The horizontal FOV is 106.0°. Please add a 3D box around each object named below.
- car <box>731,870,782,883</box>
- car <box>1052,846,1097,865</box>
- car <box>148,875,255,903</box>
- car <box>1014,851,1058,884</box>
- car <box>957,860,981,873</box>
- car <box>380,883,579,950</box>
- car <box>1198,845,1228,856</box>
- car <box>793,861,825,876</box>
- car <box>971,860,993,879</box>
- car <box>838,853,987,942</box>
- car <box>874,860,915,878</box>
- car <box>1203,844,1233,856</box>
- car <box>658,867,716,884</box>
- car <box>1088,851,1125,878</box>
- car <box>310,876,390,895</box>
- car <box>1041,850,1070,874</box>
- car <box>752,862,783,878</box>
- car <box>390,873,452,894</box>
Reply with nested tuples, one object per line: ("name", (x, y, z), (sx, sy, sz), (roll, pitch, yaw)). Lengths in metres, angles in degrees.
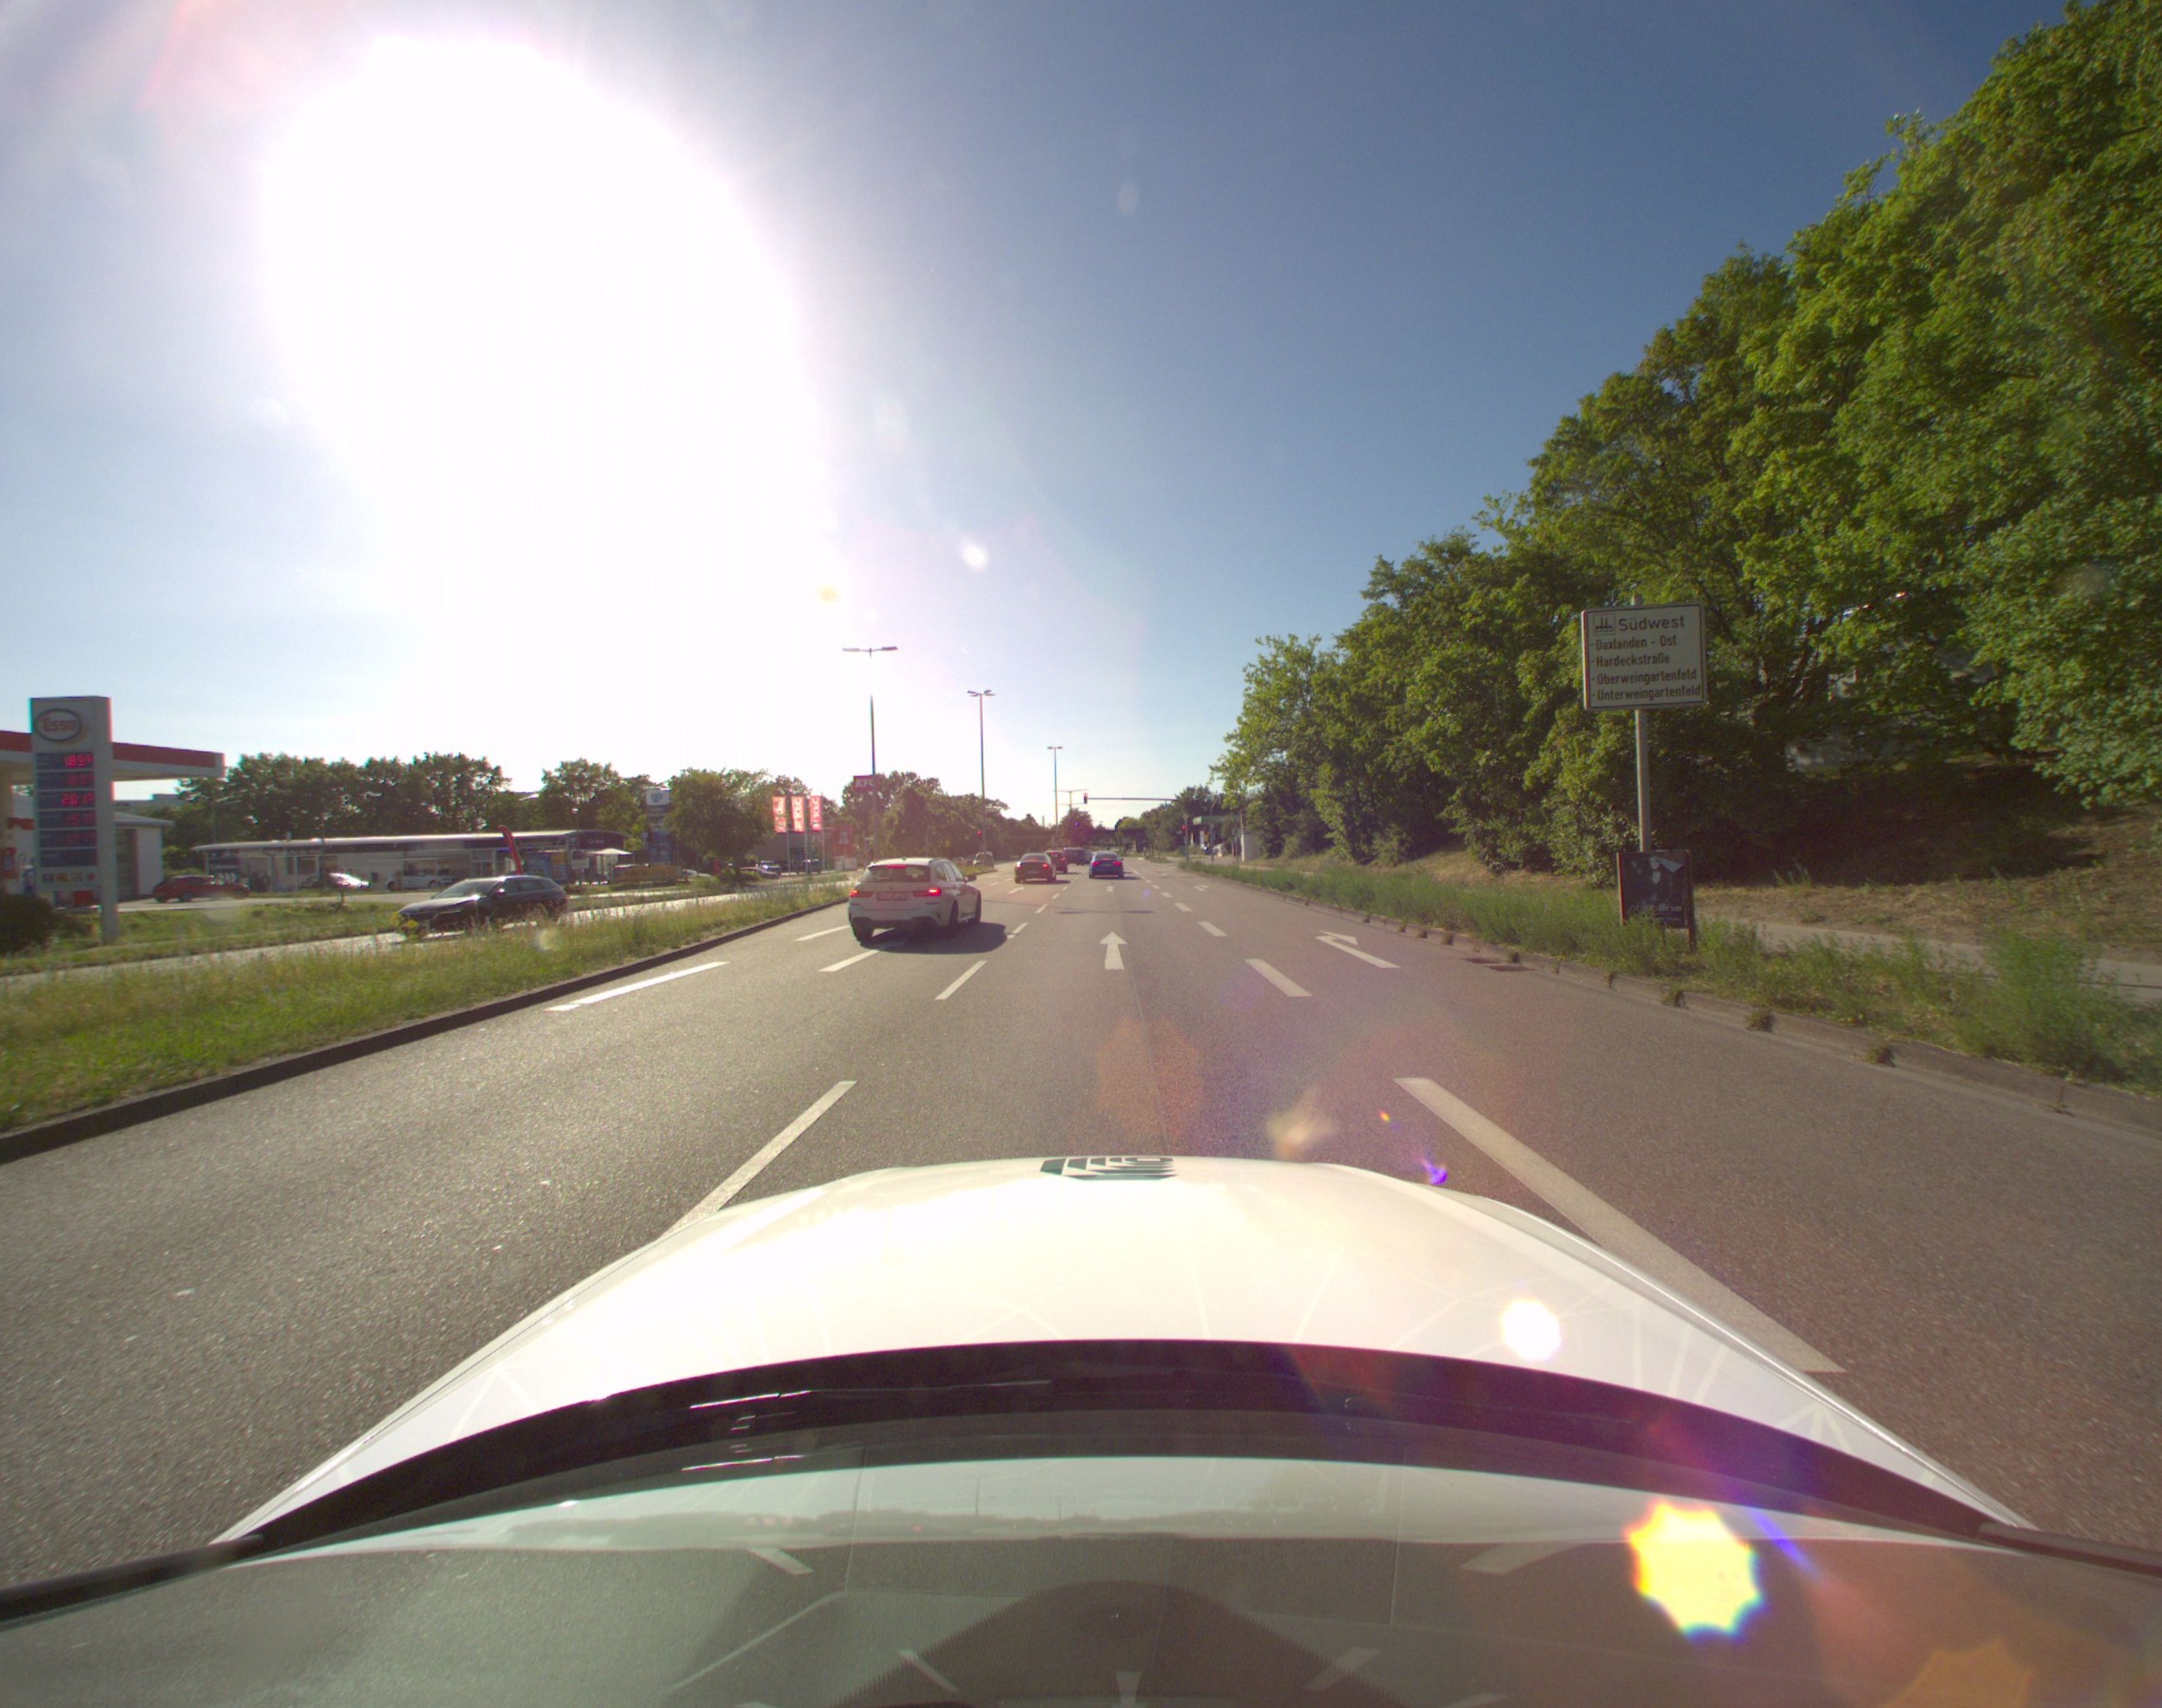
("car", (-30.831, 2.137, 77.502), (4.070, 1.252, 1.871), (0, -1, 0))
("car", (-0.695, 0.180, 84.318), (4.537, 1.875, 1.829), (-2, 0, 41))
("car", (-50.866, 1.978, 47.205), (1.516, 1.472, 4.014), (0, -1, 8))
("car", (-2.202, 0.619, 40.934), (1.805, 1.551, 4.544), (-1, 0, 1))
("car", (-15.765, 1.714, 114.805), (1.790, 1.726, 4.338), (-1, 0, 14))
("car", (-15.797, 1.580, 21.758), (1.639, 1.334, 4.683), (-5, -1, 2))
("car", (19.798, -0.508, 122.287), (3.995, 1.552, 1.989), (0, -1, -16))
("car", (-32.503, 1.673, 97.270), (1.946, 1.740, 4.046), (0, -1, -44))
("car", (-10.158, 1.578, 83.783), (1.671, 1.848, 4.296), (0, -1, 1))
("car", (-3.099, 0.748, 15.977), (1.805, 1.486, 4.598), (0, 0, 2))
("car", (-19.873, 1.597, 86.951), (1.974, 1.813, 3.796), (-1, -1, 39))
("car", (19.066, -0.546, 113.548), (3.970, 1.552, 2.001), (0, -1, 3))
("car", (-37.666, 2.014, 77.983), (4.608, 1.579, 1.936), (0, -1, 0))
("car", (1.459, 0.555, 45.358), (1.901, 1.423, 3.722), (0, -1, 4))
("car", (-51.834, 2.226, 57.769), (4.028, 1.252, 1.756), (0, -1, 0))
("car", (-1.722, 0.560, 56.768), (1.806, 1.551, 4.353), (0, -1, 1))
("car", (-36.087, 1.833, 93.704), (1.946, 1.740, 4.046), (0, -1, -44))
("car", (-47.222, 2.128, 58.283), (3.129, 1.441, 1.534), (0, -1, 0))
